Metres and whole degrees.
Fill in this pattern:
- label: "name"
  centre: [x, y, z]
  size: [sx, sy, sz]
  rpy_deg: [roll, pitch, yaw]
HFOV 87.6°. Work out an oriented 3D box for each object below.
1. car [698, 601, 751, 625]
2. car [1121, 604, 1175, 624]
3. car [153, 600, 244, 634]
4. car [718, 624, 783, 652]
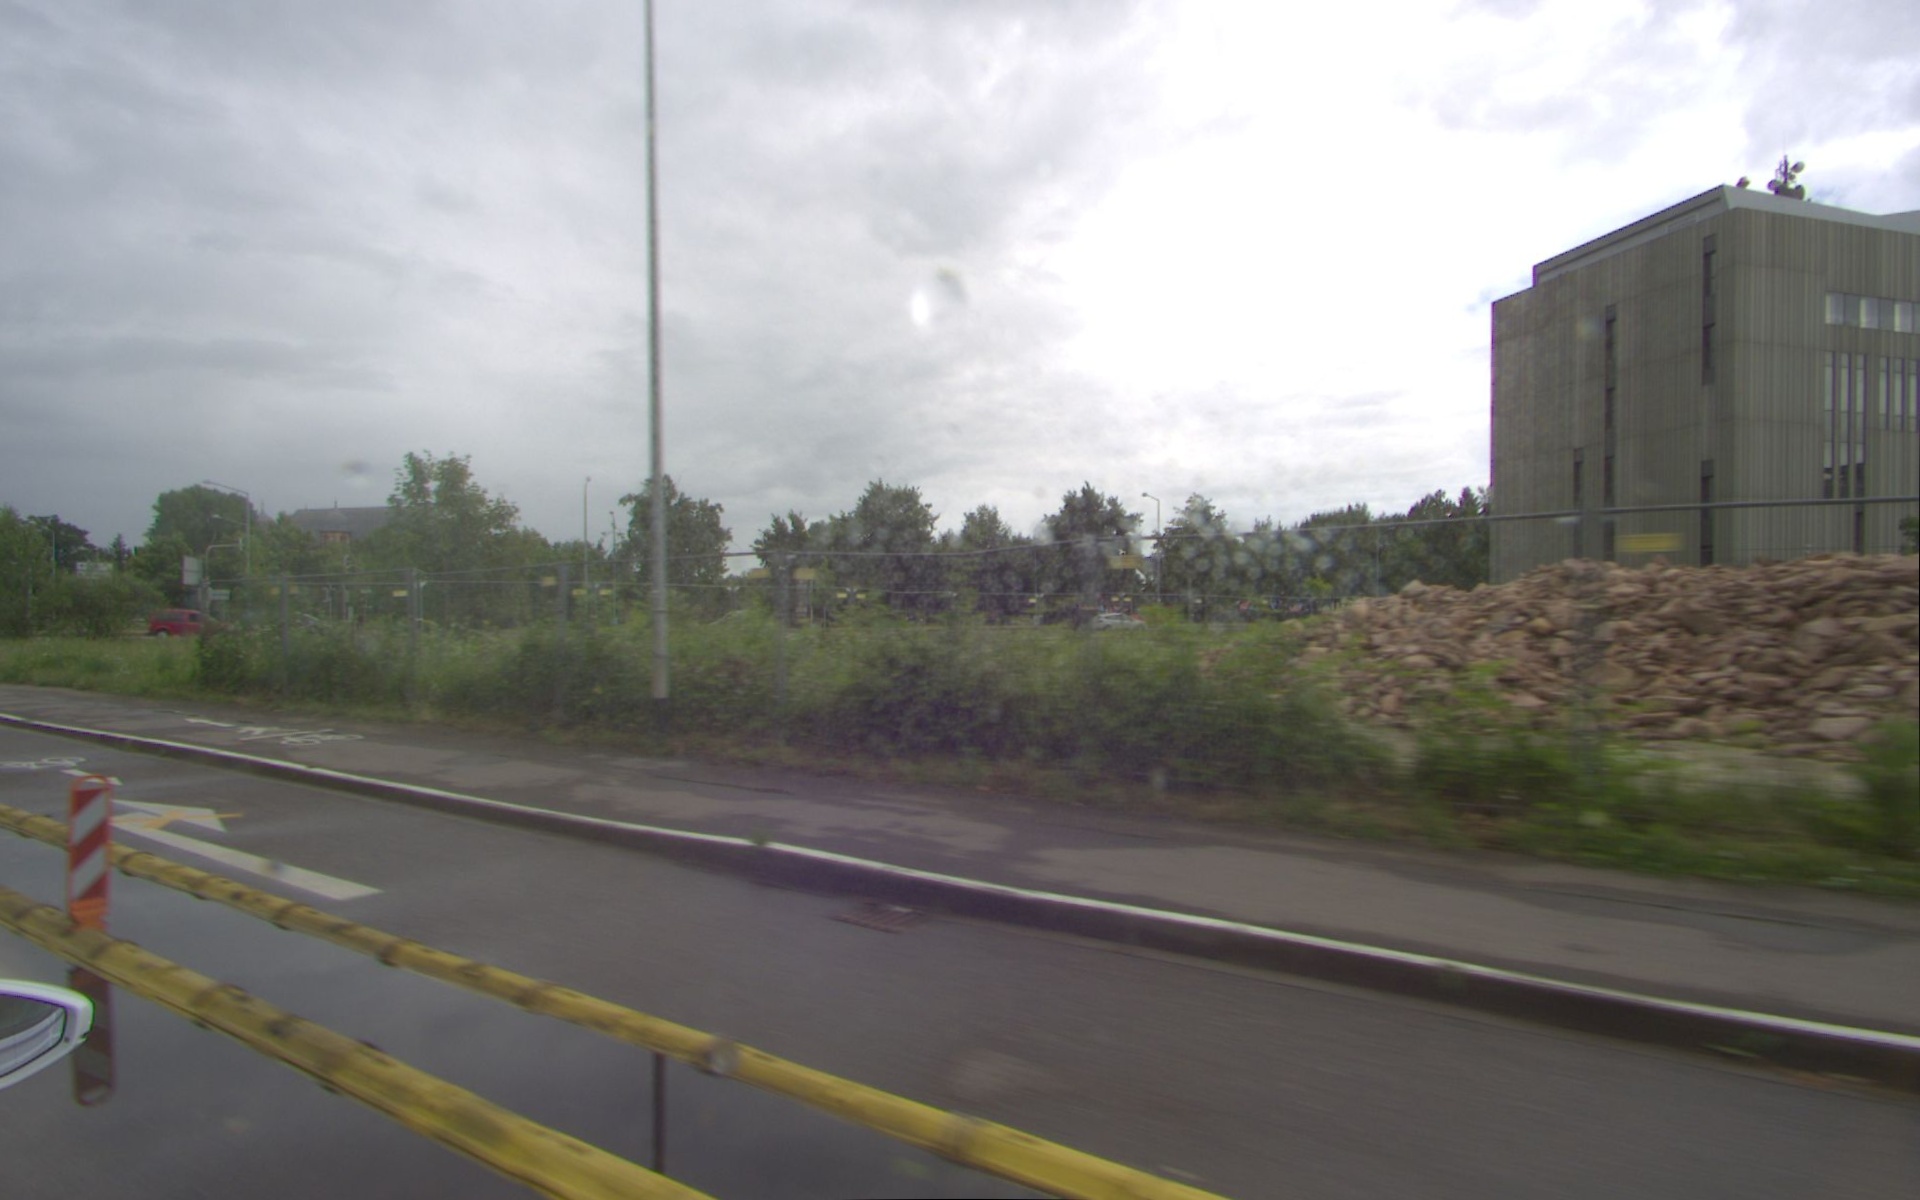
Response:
- label: "car"
  centre: [-20.439, 1.140, 86.984]
  size: [4.395, 2.040, 1.998]
  rpy_deg: [0, 0, -12]
- label: "car"
  centre: [18.340, 1.354, 97.697]
  size: [4.802, 1.943, 2.112]
  rpy_deg: [0, 0, -15]
- label: "car"
  centre: [-45.362, 0.995, 59.667]
  size: [4.165, 1.943, 2.096]
  rpy_deg: [0, 0, -42]
- label: "car"
  centre: [-14.316, 2.583, 68.374]
  size: [4.134, 1.837, 2.074]
  rpy_deg: [0, 0, -17]
